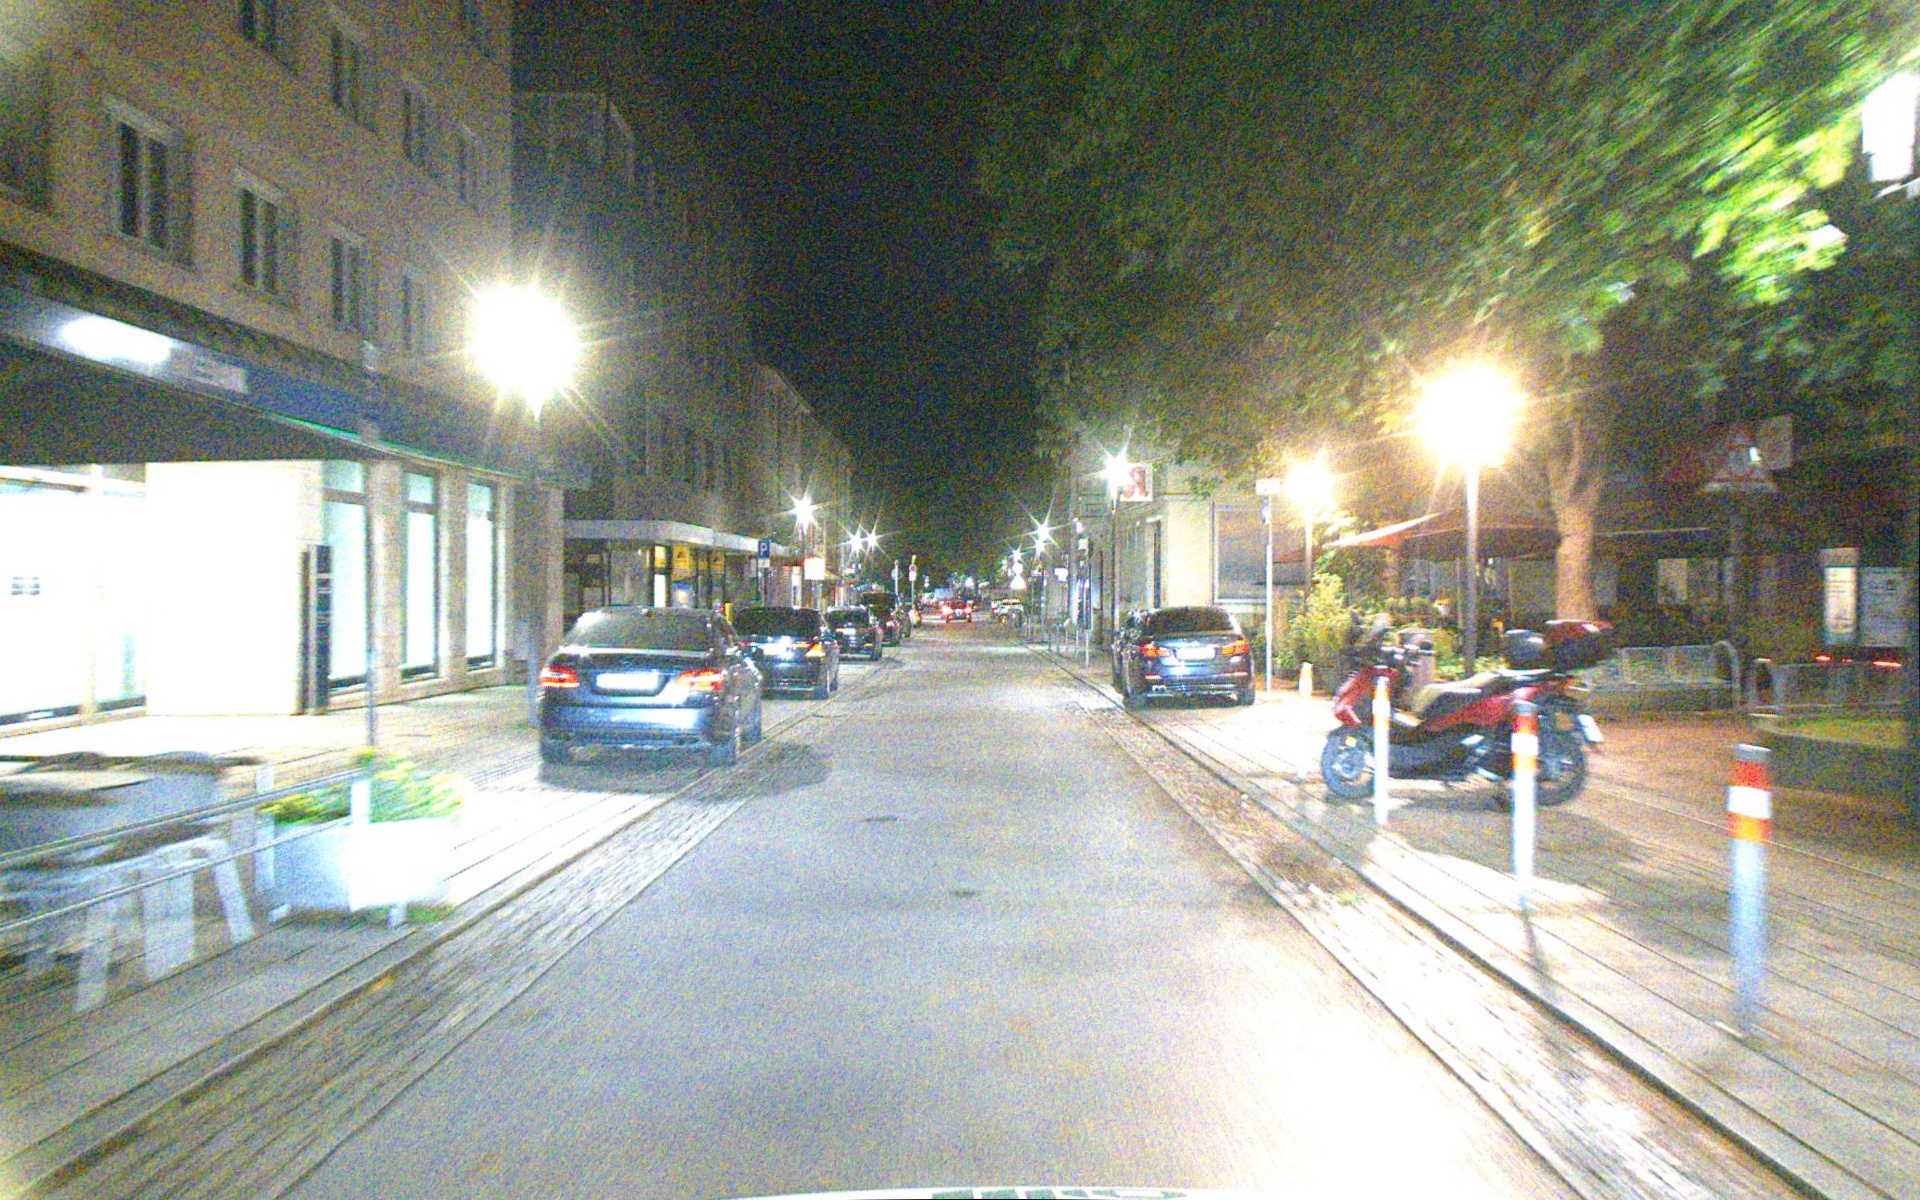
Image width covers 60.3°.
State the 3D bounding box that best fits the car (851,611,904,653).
[{"bbox_3d":[-2.997,1.142,60.789,1.681,1.437,4.385,1,0,0],"label":"car"}]

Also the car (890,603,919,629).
[{"bbox_3d":[-3.295,0.923,99.169,1.693,1.502,3.846,1,0,-1],"label":"car"}]

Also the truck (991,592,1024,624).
[{"bbox_3d":[3.651,0.586,128.420,2.289,2.352,5.779,-1,0,-1],"label":"truck"}]

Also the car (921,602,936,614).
[{"bbox_3d":[-3.890,1.017,202.690,1.501,1.443,3.841,0,0,-5],"label":"car"}]

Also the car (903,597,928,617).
[{"bbox_3d":[-3.577,0.561,132.635,1.641,1.570,4.225,1,0,-6],"label":"car"}]

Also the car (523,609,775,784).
[{"bbox_3d":[-2.951,0.851,16.620,1.862,1.496,4.522,0,0,-3],"label":"car"}]

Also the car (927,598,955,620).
[{"bbox_3d":[-1.588,0.746,133.854,1.955,1.732,3.996,0,0,-5],"label":"car"}]

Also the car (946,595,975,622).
[{"bbox_3d":[0.004,0.568,117.106,1.953,1.855,3.999,0,0,-1],"label":"car"}]

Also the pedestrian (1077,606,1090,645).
[{"bbox_3d":[5.036,1.041,67.562,0.490,1.575,0.480,1,-1,6],"label":"pedestrian"}]

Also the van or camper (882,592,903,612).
[{"bbox_3d":[-6.987,0.190,170.642,1.831,2.046,4.255,1,0,-7],"label":"van or camper"}]

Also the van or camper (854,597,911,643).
[{"bbox_3d":[-3.373,0.855,73.086,1.807,1.976,5.156,1,0,5],"label":"van or camper"}]

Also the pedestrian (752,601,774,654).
[{"bbox_3d":[-6.655,0.928,55.981,0.608,1.776,1.022,0,0,0],"label":"pedestrian"}]

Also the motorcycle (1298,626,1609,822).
[{"bbox_3d":[3.570,0.864,12.108,2.128,1.320,0.513,-1,-1,38],"label":"motorcycle"}]

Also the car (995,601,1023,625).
[{"bbox_3d":[3.326,0.846,112.505,1.752,1.517,4.059,-2,0,1],"label":"car"}]

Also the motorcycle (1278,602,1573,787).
[{"bbox_3d":[3.777,0.745,13.472,2.219,1.415,0.661,-1,-1,25],"label":"motorcycle"}]

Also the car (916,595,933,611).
[{"bbox_3d":[-4.486,0.387,208.613,1.804,1.934,3.841,0,0,-5],"label":"car"}]

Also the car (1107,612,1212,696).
[{"bbox_3d":[3.678,0.966,31.078,1.626,1.401,4.105,-2,0,3],"label":"car"}]

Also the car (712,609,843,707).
[{"bbox_3d":[-3.043,0.928,28.386,1.807,1.489,4.621,1,0,-2],"label":"car"}]

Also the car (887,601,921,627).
[{"bbox_3d":[-3.503,0.869,104.489,1.978,1.514,5.006,3,0,-1],"label":"car"}]

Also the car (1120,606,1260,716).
[{"bbox_3d":[3.462,0.865,25.577,1.717,1.489,4.468,-2,0,3],"label":"car"}]

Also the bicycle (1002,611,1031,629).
[{"bbox_3d":[3.451,1.233,101.490,1.719,1.081,0.346,-1,0,-3],"label":"bicycle"}]

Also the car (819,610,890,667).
[{"bbox_3d":[-2.917,1.038,46.345,1.761,1.504,4.320,1,0,-1],"label":"car"}]

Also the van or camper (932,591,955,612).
[{"bbox_3d":[-1.906,0.165,189.743,2.068,2.357,4.255,-2,0,-7],"label":"van or camper"}]

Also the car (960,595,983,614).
[{"bbox_3d":[1.147,0.412,163.847,1.780,1.860,4.341,-1,0,-6],"label":"car"}]
